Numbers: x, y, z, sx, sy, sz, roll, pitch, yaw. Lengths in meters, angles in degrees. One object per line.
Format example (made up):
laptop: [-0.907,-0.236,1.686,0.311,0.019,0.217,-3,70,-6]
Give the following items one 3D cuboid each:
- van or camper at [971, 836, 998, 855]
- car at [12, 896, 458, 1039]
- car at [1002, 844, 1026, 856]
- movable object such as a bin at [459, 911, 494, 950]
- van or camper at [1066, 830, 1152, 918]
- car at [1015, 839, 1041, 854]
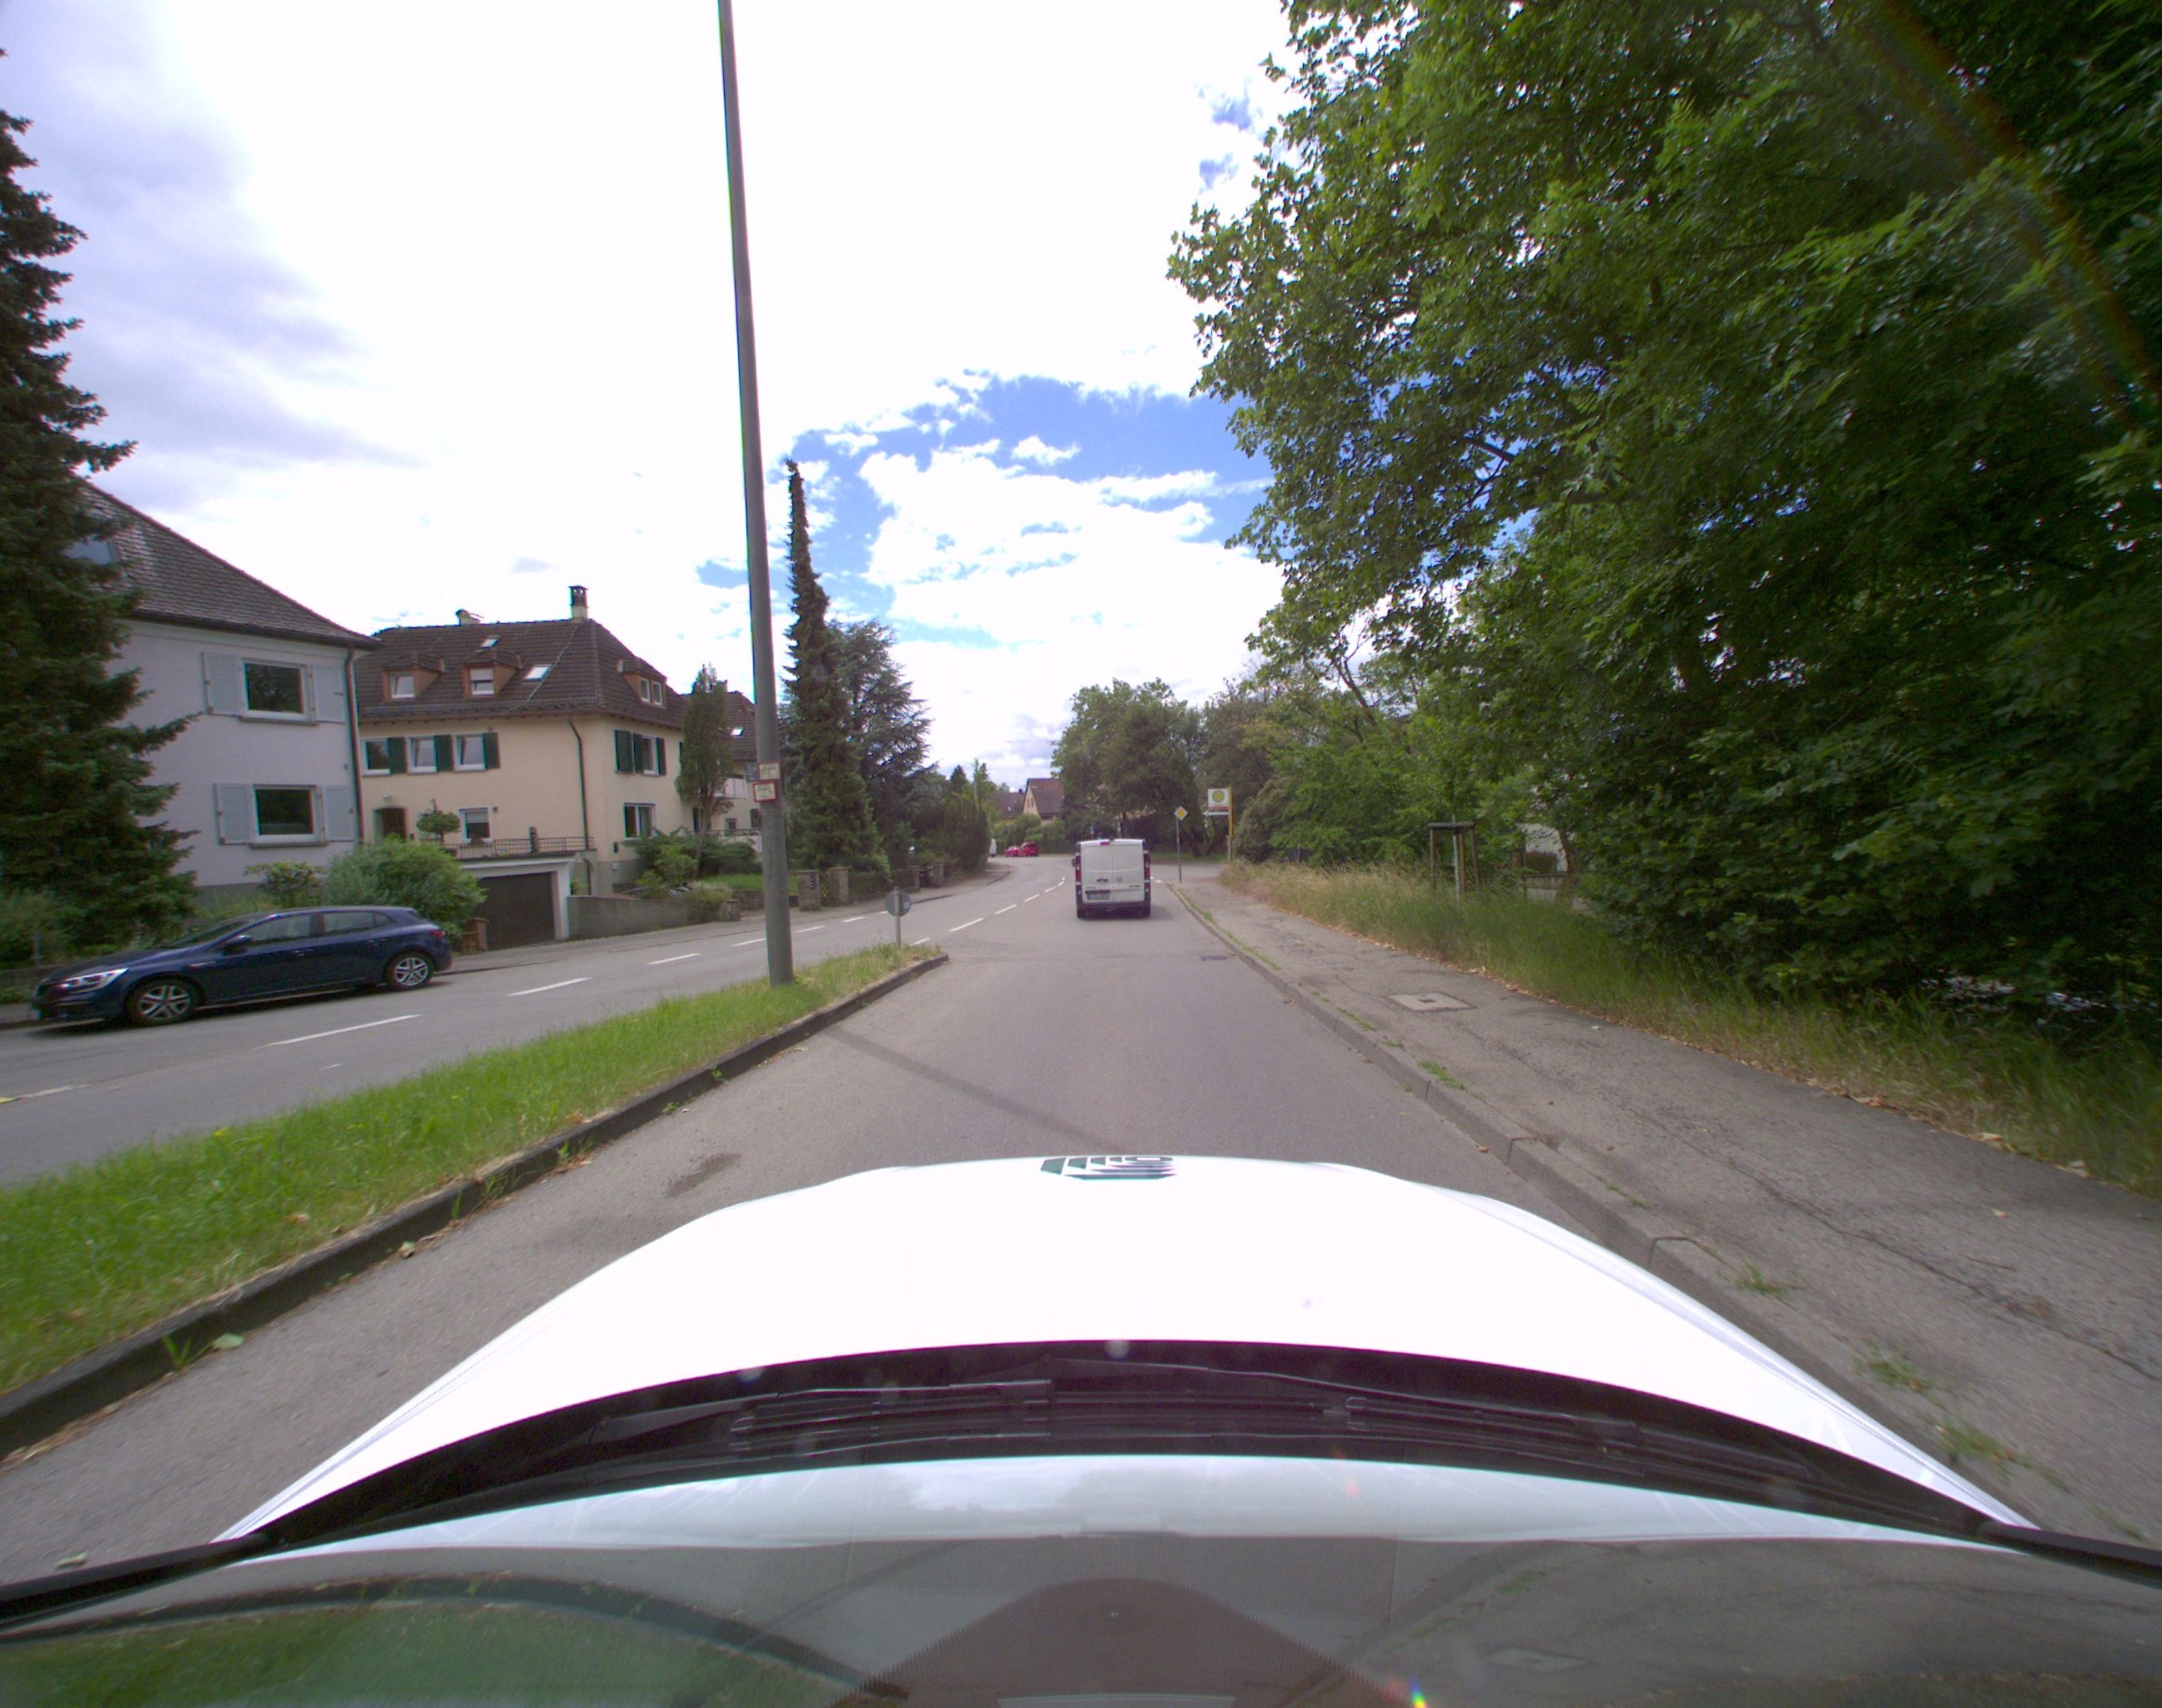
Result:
van or camper: [-14.120,-1.238,118.863,2.077,2.674,6.277,-3,1,-24]
car: [-12.377,1.515,12.308,1.711,1.474,4.341,-2,0,29]
car: [-8.712,-0.575,106.190,1.721,1.467,4.233,-3,1,-25]
movable object such as a bin: [-13.977,1.759,18.830,0.315,0.835,0.589,-2,1,2]
van or camper: [0.871,0.408,21.773,1.914,2.013,4.838,-1,2,6]
car: [-6.652,-0.880,101.087,1.767,1.797,4.914,-3,1,-21]
